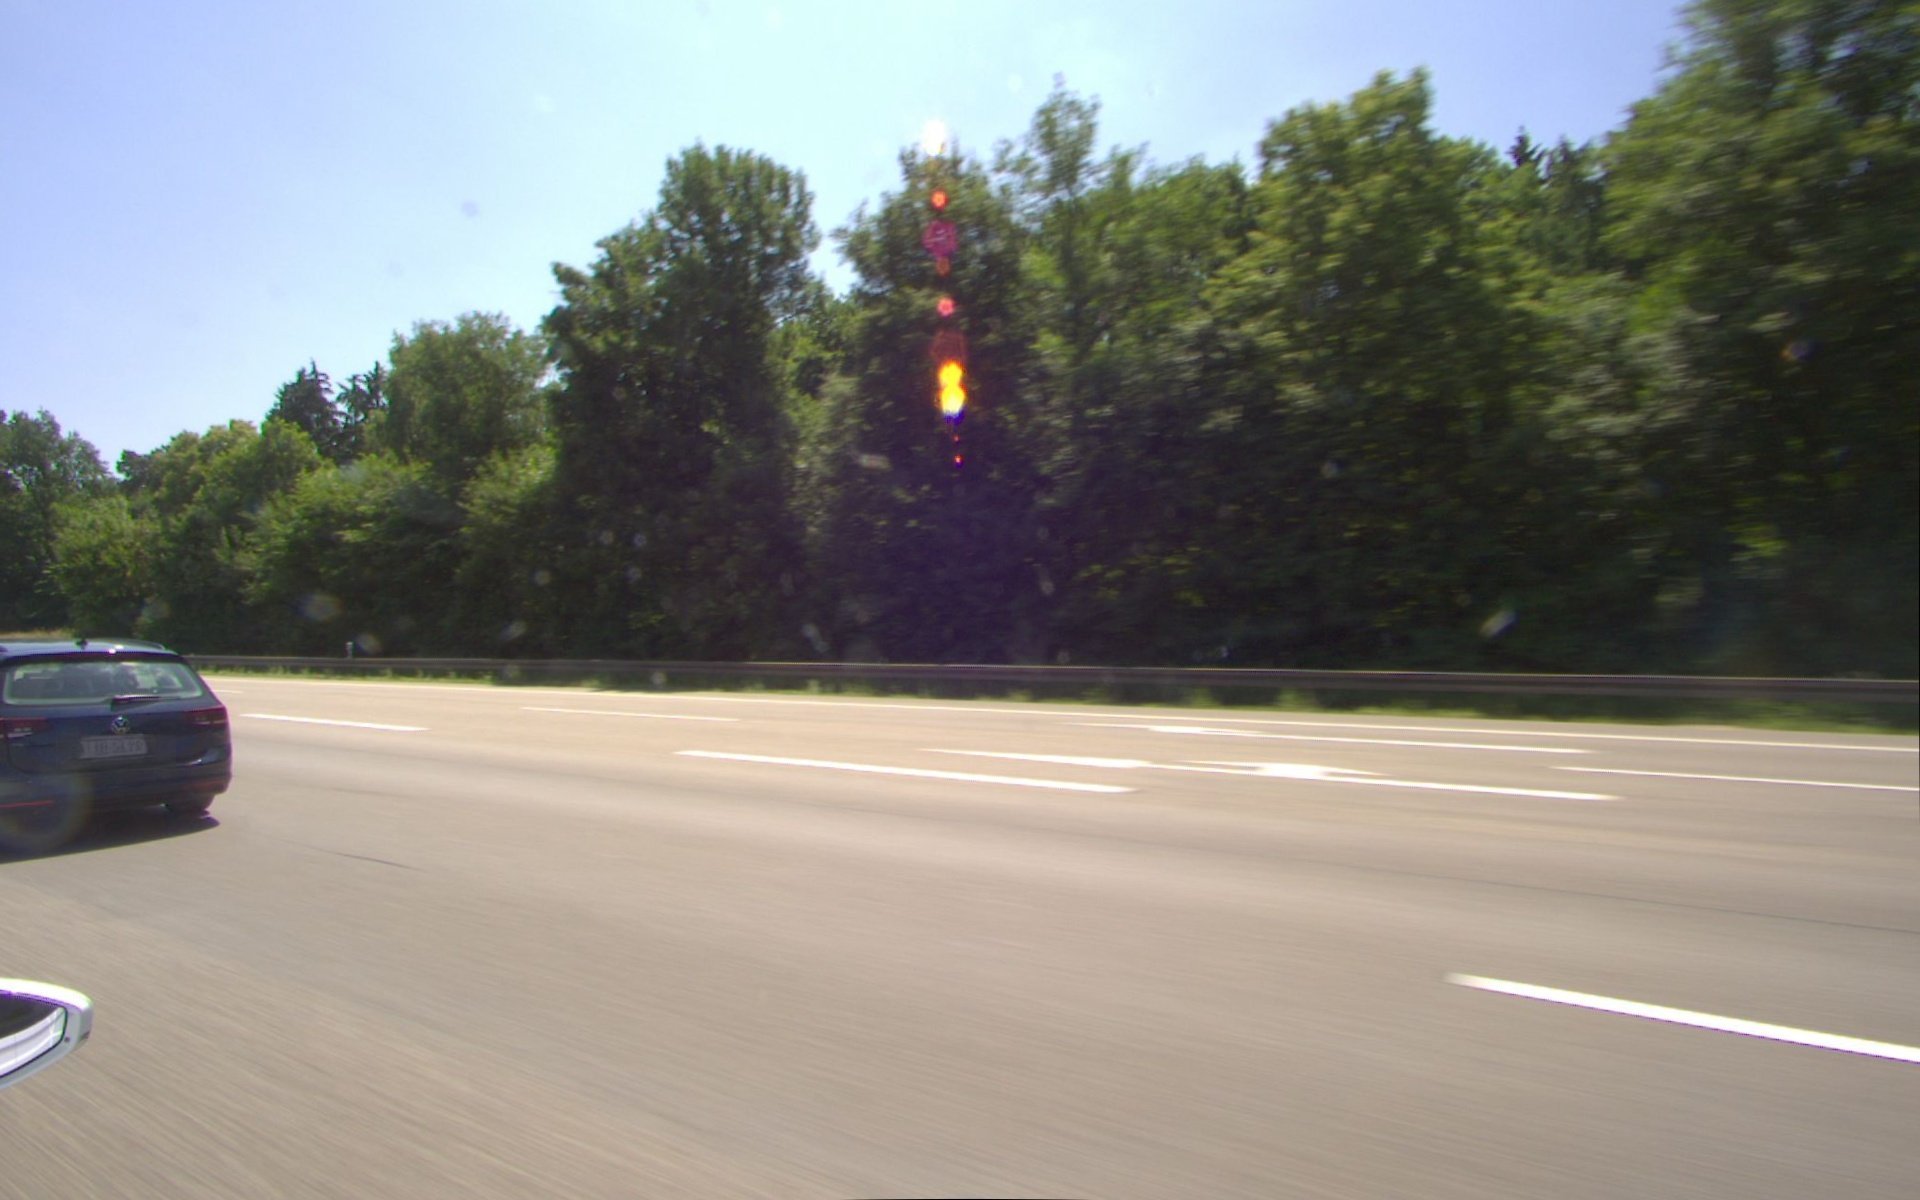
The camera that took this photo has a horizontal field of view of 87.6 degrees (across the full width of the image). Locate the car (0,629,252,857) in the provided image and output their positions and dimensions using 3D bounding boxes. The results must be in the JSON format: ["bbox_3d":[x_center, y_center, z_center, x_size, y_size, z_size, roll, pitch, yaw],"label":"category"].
[{"bbox_3d":[-7.965,0.981,8.326,4.891,1.466,1.726,-1,-1,33],"label":"car"}]
